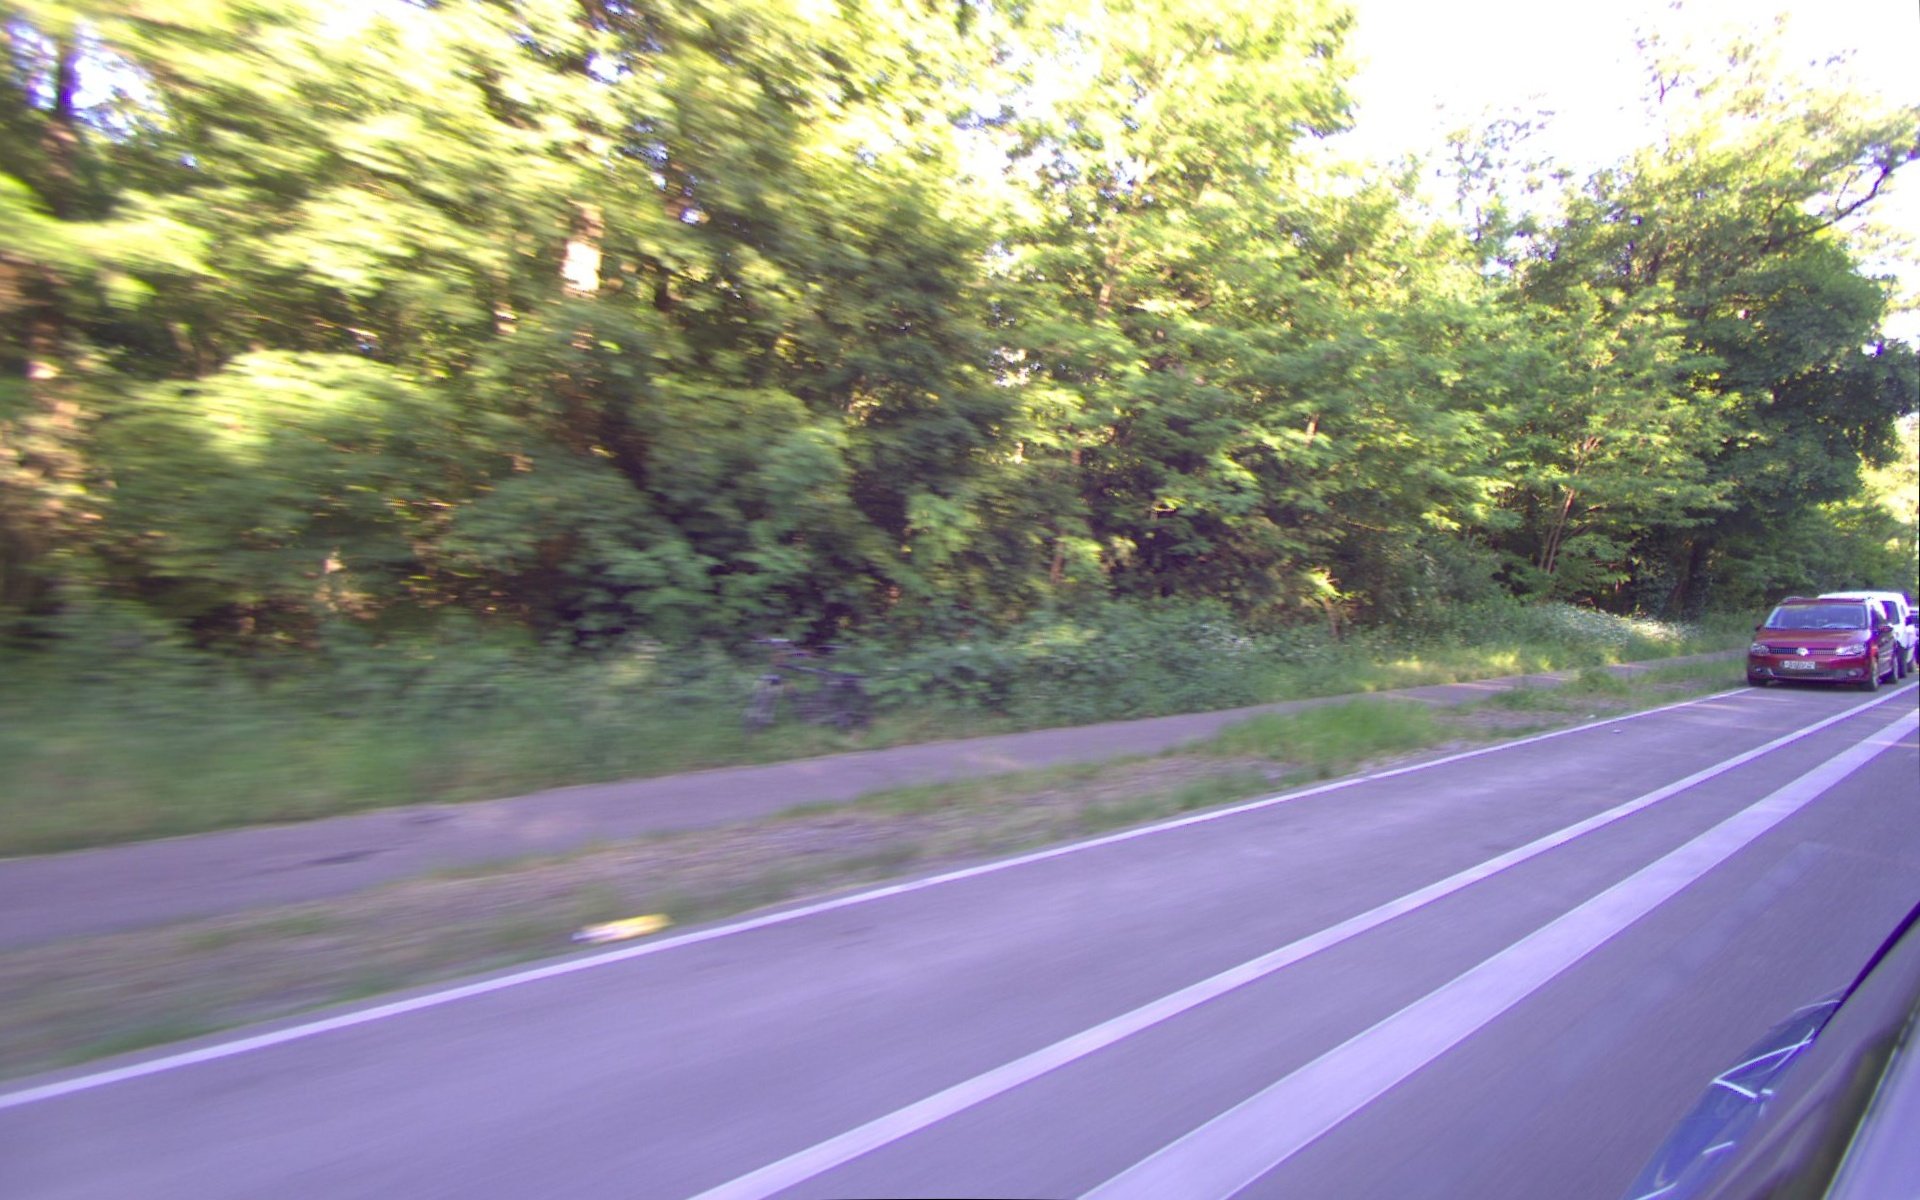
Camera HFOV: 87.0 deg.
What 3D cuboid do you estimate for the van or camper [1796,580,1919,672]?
[{"bbox_3d":[20.020,0.510,22.303,4.307,1.838,1.953,0,0,-43],"label":"van or camper"}]

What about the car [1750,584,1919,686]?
[{"bbox_3d":[16.274,0.584,18.695,4.262,1.682,1.837,0,-1,-41],"label":"car"}]

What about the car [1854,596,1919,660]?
[{"bbox_3d":[24.740,0.690,26.313,4.076,1.543,1.693,0,-1,-41],"label":"car"}]
